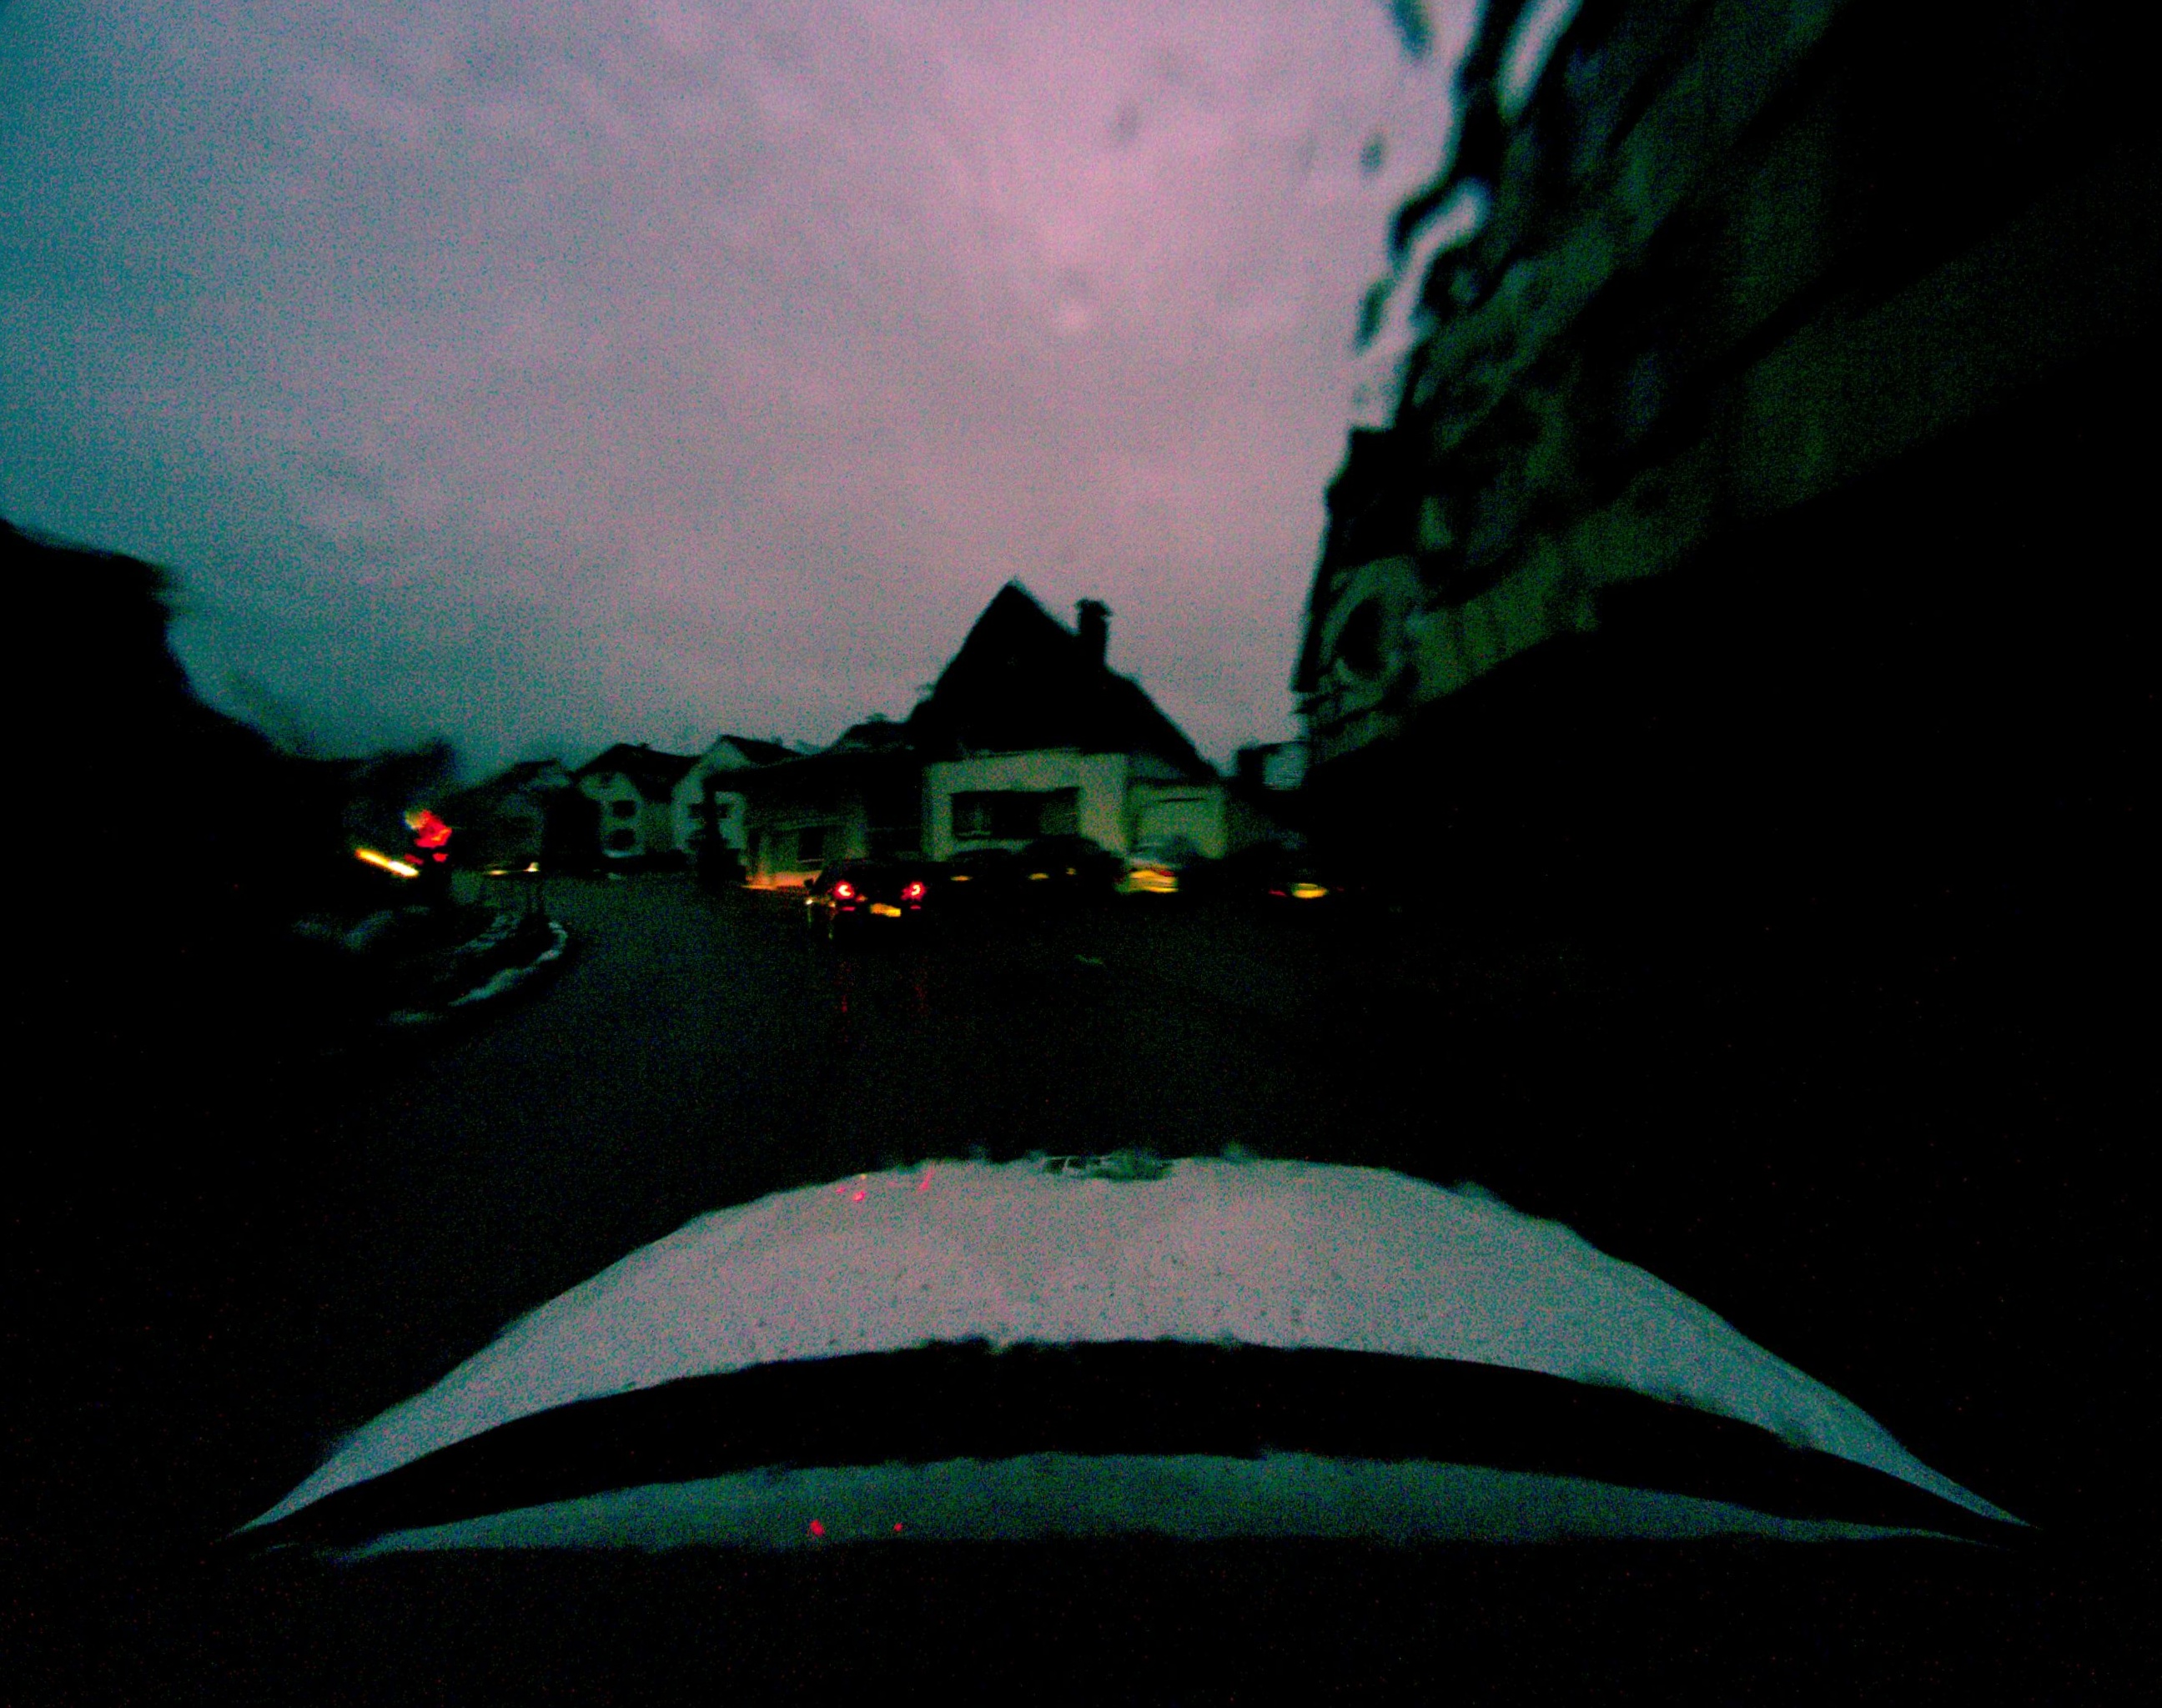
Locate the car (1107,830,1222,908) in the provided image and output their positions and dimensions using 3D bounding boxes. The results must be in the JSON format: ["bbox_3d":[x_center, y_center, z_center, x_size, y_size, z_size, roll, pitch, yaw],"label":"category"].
[{"bbox_3d":[2.150,0.299,19.859,1.794,1.420,4.059,-4,3,19],"label":"car"}]

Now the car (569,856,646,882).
[{"bbox_3d":[-32.954,1.024,56.691,4.506,1.628,1.821,-1,2,12],"label":"car"}]

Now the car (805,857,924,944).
[{"bbox_3d":[-4.325,0.803,15.931,1.554,1.466,3.666,-1,0,-26],"label":"car"}]

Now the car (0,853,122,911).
[{"bbox_3d":[-27.968,0.719,20.909,1.797,1.462,4.024,-1,-1,29],"label":"car"}]

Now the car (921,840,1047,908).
[{"bbox_3d":[-2.623,0.503,22.991,1.867,1.449,3.914,-4,3,19],"label":"car"}]

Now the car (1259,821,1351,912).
[{"bbox_3d":[4.696,0.176,17.465,1.581,1.515,4.000,-4,3,13],"label":"car"}]

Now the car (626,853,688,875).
[{"bbox_3d":[-32.727,0.772,62.893,3.960,1.566,1.821,-1,2,12],"label":"car"}]

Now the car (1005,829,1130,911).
[{"bbox_3d":[-0.225,0.326,21.733,1.835,1.660,4.499,-4,3,18],"label":"car"}]
